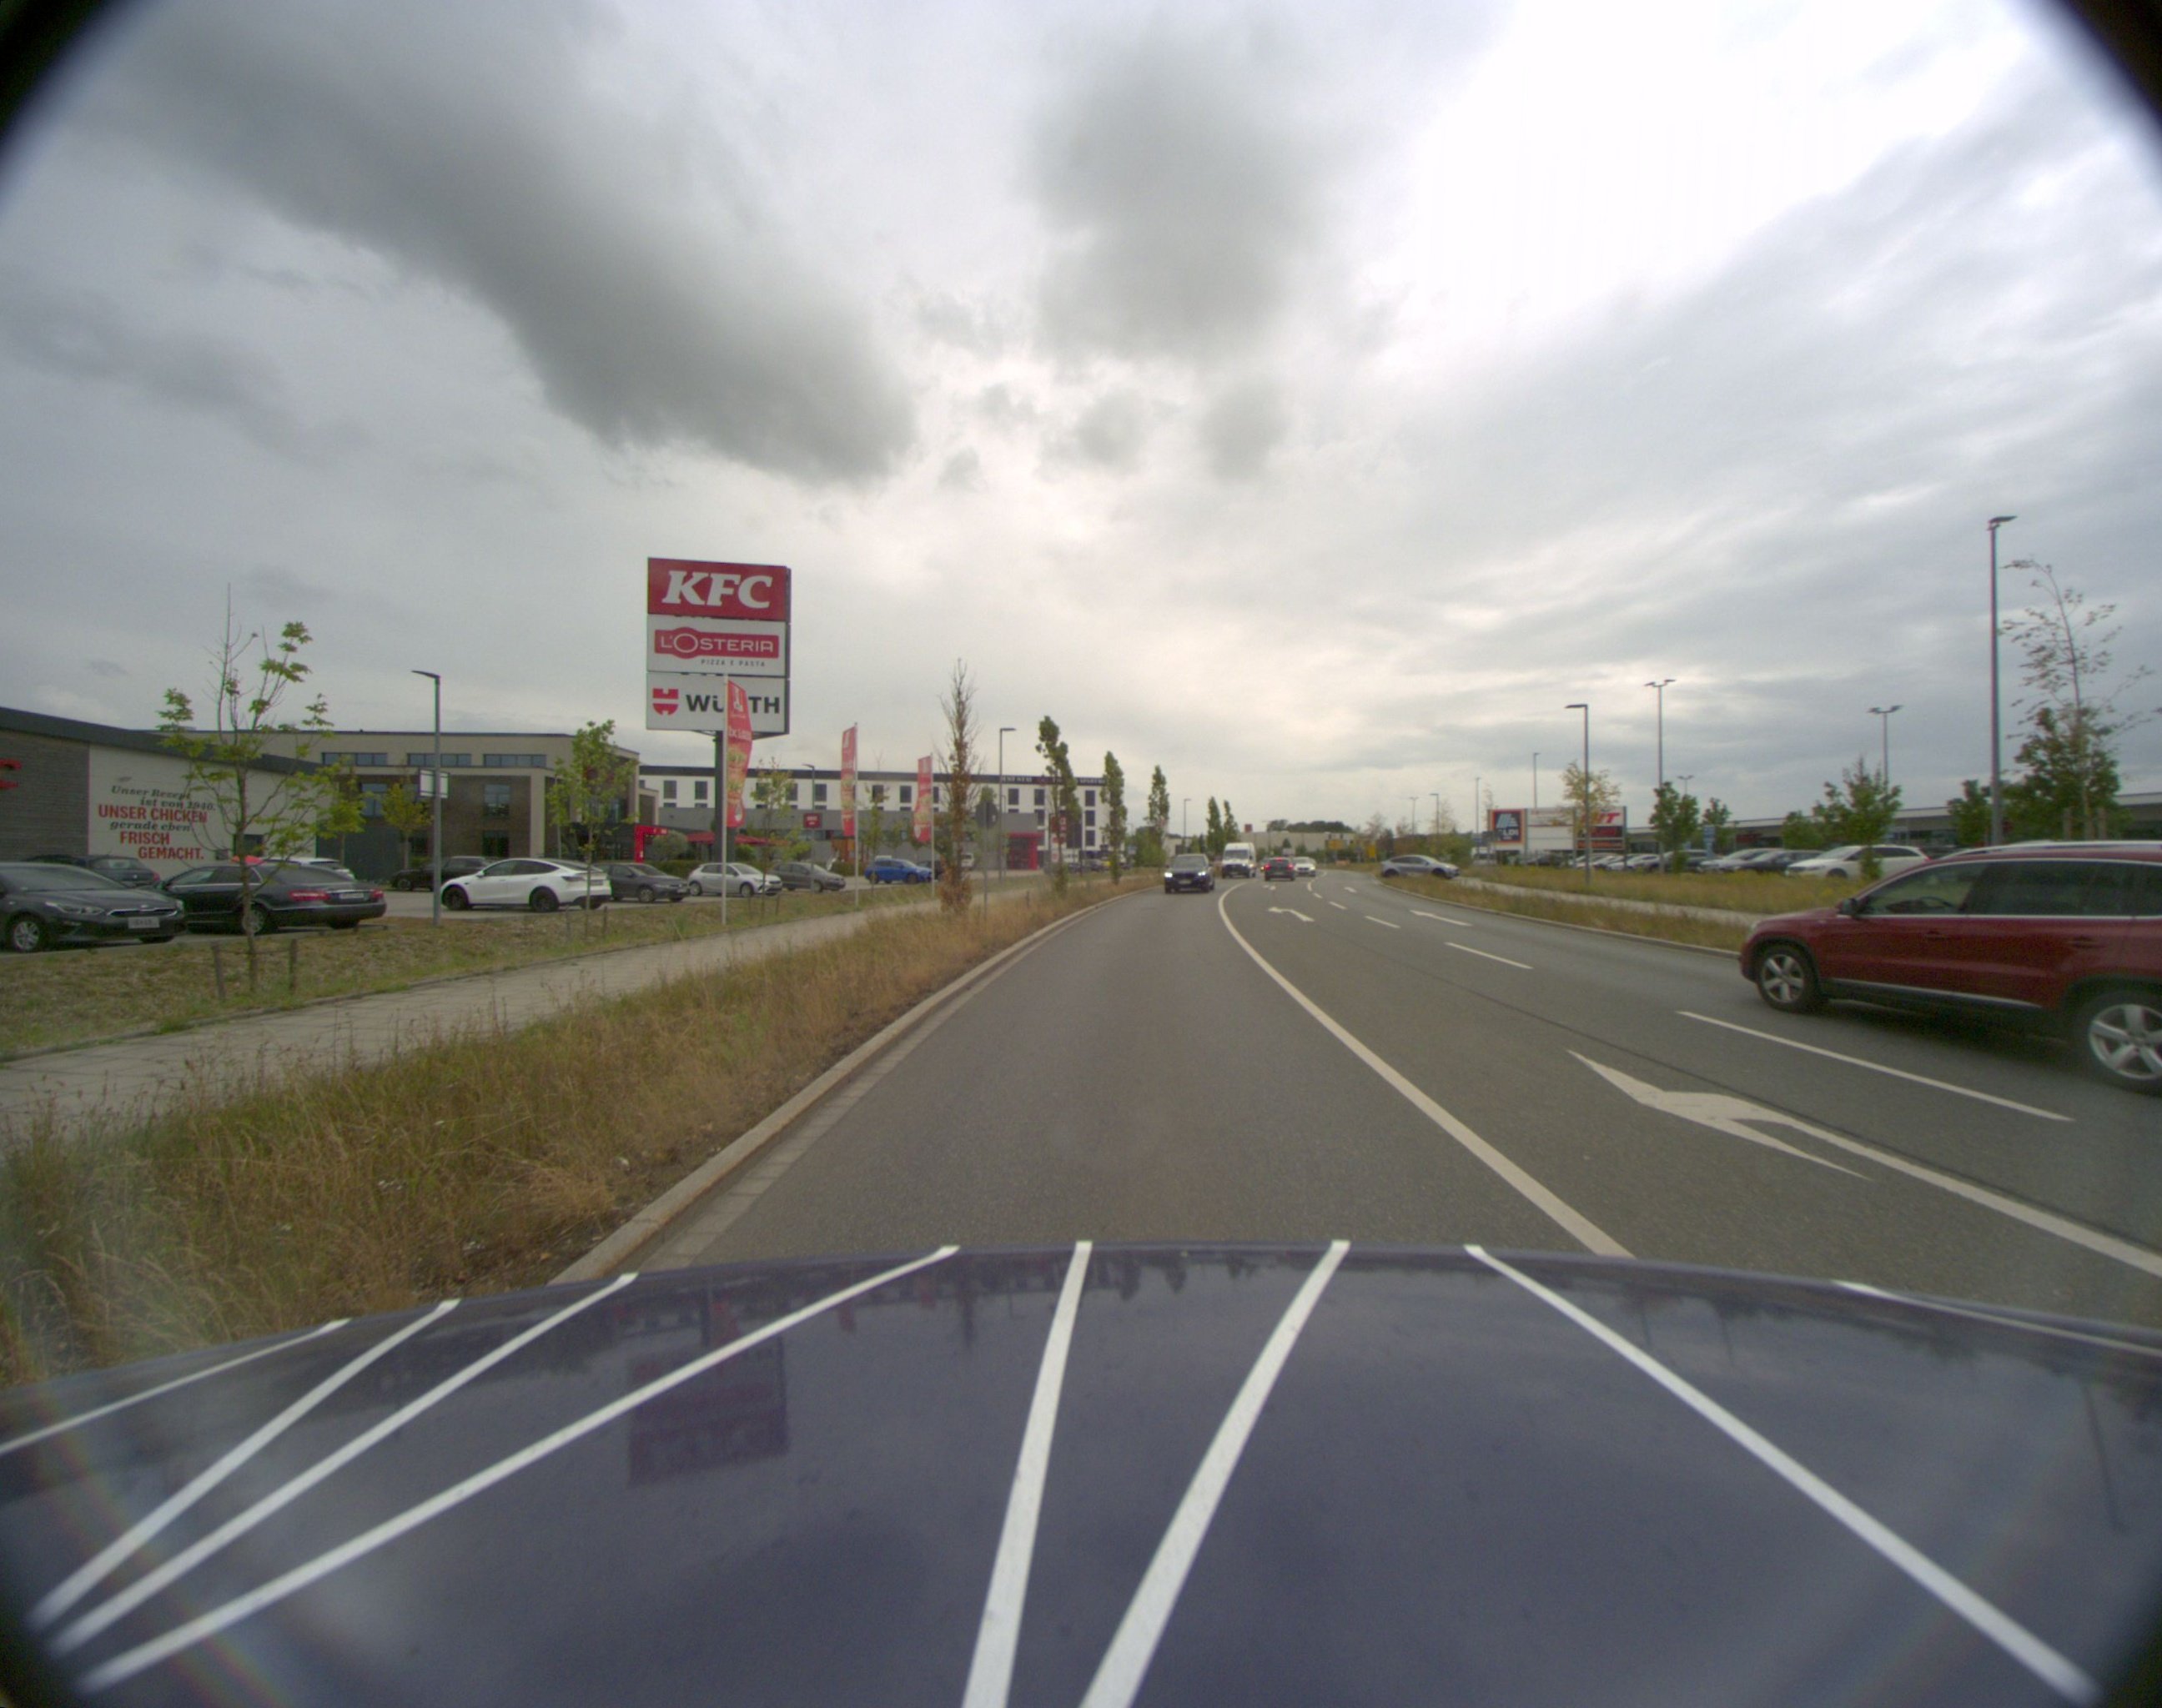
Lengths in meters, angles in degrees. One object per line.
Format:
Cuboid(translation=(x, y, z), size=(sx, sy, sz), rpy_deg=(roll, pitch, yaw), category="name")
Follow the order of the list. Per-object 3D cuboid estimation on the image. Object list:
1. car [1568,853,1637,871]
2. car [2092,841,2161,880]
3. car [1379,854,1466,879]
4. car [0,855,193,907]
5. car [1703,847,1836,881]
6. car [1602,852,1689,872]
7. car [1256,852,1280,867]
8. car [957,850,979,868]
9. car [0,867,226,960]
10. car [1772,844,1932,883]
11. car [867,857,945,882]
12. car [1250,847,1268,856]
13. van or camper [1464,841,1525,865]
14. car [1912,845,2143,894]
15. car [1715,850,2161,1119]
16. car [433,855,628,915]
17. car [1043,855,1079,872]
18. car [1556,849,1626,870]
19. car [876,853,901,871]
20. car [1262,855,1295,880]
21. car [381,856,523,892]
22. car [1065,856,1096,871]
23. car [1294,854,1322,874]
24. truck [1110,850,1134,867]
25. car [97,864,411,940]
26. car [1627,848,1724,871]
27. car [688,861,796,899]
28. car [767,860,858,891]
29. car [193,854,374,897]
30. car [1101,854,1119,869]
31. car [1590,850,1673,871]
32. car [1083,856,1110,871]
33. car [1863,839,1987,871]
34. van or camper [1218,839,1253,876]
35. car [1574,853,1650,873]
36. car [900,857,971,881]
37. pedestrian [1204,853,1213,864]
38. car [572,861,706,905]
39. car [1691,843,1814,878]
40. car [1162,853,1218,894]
Cuboid(translation=(41.077, 0.613, 59.978), size=(4.089, 1.383, 2.003), rpy_deg=(0, 0, 20), category="car")
Cuboid(translation=(44.175, 0.260, 30.407), size=(1.999, 1.597, 3.999), rpy_deg=(0, 0, -4), category="car")
Cuboid(translation=(21.524, 0.766, 48.013), size=(4.599, 1.552, 2.004), rpy_deg=(0, 0, 44), category="car")
Cuboid(translation=(-30.807, 0.801, 23.378), size=(4.376, 1.510, 2.047), rpy_deg=(1, 0, -3), category="car")
Cuboid(translation=(32.744, 0.474, 36.304), size=(4.247, 1.504, 2.049), rpy_deg=(-1, 0, 19), category="car")
Cuboid(translation=(38.278, 0.528, 51.661), size=(4.318, 1.332, 2.029), rpy_deg=(0, 0, 15), category="car")
Cuboid(translation=(19.552, 0.559, 79.539), size=(1.755, 1.575, 4.002), rpy_deg=(-1, 0, 5), category="car")
Cuboid(translation=(-12.606, 0.559, 84.714), size=(2.001, 1.975, 4.631), rpy_deg=(0, 0, -14), category="car")
Cuboid(translation=(-17.752, 0.961, 13.006), size=(4.093, 1.429, 1.943), rpy_deg=(0, 0, 1), category="car")
Cuboid(translation=(31.491, 0.378, 31.152), size=(4.254, 1.550, 1.991), rpy_deg=(0, 0, 9), category="car")
Cuboid(translation=(-10.785, 0.929, 46.809), size=(4.267, 1.511, 1.968), rpy_deg=(0, 0, 17), category="car")
Cuboid(translation=(43.306, -0.582, 184.723), size=(4.004, 2.002, 1.640), rpy_deg=(-1, 0, -20), category="car")
Cuboid(translation=(48.566, -0.112, 89.345), size=(5.862, 2.783, 2.245), rpy_deg=(0, 1, 9), category="van or camper")
Cuboid(translation=(29.469, 0.471, 23.826), size=(4.238, 1.426, 2.000), rpy_deg=(0, 0, 12), category="car")
Cuboid(translation=(7.651, 0.838, 5.949), size=(1.803, 1.659, 4.327), rpy_deg=(2, 0, 2), category="car")
Cuboid(translation=(-16.552, 0.883, 22.959), size=(4.570, 1.635, 2.090), rpy_deg=(1, 0, 8), category="car")
Cuboid(translation=(-1.804, 0.870, 70.128), size=(1.964, 1.451, 4.838), rpy_deg=(0, 0, 17), category="car")
Cuboid(translation=(41.820, 0.458, 62.424), size=(4.306, 1.645, 2.083), rpy_deg=(0, 0, 16), category="car")
Cuboid(translation=(-18.204, 0.766, 71.958), size=(2.000, 1.687, 4.788), rpy_deg=(0, 0, -11), category="car")
Cuboid(translation=(12.235, 0.810, 46.908), size=(1.832, 1.412, 4.251), rpy_deg=(-1, 0, 17), category="car")
Cuboid(translation=(-27.754, 0.860, 33.646), size=(4.574, 1.510, 1.977), rpy_deg=(1, 0, -3), category="car")
Cuboid(translation=(-0.030, 0.919, 75.505), size=(1.866, 1.428, 4.886), rpy_deg=(0, 0, 15), category="car")
Cuboid(translation=(17.261, 0.731, 57.939), size=(1.882, 1.460, 4.197), rpy_deg=(0, 0, 14), category="car")
Cuboid(translation=(5.653, 0.647, 104.261), size=(2.230, 2.312, 8.222), rpy_deg=(0, 0, 10), category="truck")
Cuboid(translation=(-17.143, 0.954, 15.925), size=(4.527, 1.460, 2.033), rpy_deg=(0, 0, 3), category="car")
Cuboid(translation=(37.267, 0.373, 47.785), size=(4.362, 1.383, 2.169), rpy_deg=(0, 0, 20), category="car")
Cuboid(translation=(-14.542, 1.069, 32.678), size=(3.867, 1.473, 1.904), rpy_deg=(1, 0, 13), category="car")
Cuboid(translation=(-13.162, 1.028, 37.297), size=(3.763, 1.485, 1.892), rpy_deg=(0, 0, 15), category="car")
Cuboid(translation=(-30.059, 0.802, 28.761), size=(4.573, 1.510, 2.081), rpy_deg=(1, 0, -1), category="car")
Cuboid(translation=(3.423, 0.868, 87.799), size=(1.766, 1.676, 4.414), rpy_deg=(0, 0, 6), category="car")
Cuboid(translation=(39.328, 0.471, 54.425), size=(4.370, 1.496, 2.243), rpy_deg=(0, 0, 19), category="car")
Cuboid(translation=(1.672, 0.958, 81.577), size=(1.996, 1.488, 4.612), rpy_deg=(0, 1, 13), category="car")
Cuboid(translation=(48.598, 0.068, 43.911), size=(1.999, 1.736, 4.583), rpy_deg=(0, 0, -2), category="car")
Cuboid(translation=(11.624, 0.256, 56.841), size=(2.261, 2.601, 5.704), rpy_deg=(0, 0, 15), category="van or camper")
Cuboid(translation=(40.217, 0.674, 57.646), size=(4.323, 1.448, 2.013), rpy_deg=(0, 0, 17), category="car")
Cuboid(translation=(-9.388, 0.940, 49.081), size=(3.991, 1.485, 1.985), rpy_deg=(0, 0, 20), category="car")
Cuboid(translation=(20.378, 0.707, 121.374), size=(1.071, 1.847, 1.197), rpy_deg=(2, 2, 41), category="pedestrian")
Cuboid(translation=(-16.258, 1.045, 28.038), size=(3.993, 1.476, 1.942), rpy_deg=(0, 1, 12), category="car")
Cuboid(translation=(34.065, 0.341, 38.694), size=(4.248, 1.713, 2.030), rpy_deg=(-1, 0, 14), category="car")
Cuboid(translation=(4.851, 0.821, 33.382), size=(1.996, 1.654, 4.004), rpy_deg=(-1, 0, 14), category="car")
